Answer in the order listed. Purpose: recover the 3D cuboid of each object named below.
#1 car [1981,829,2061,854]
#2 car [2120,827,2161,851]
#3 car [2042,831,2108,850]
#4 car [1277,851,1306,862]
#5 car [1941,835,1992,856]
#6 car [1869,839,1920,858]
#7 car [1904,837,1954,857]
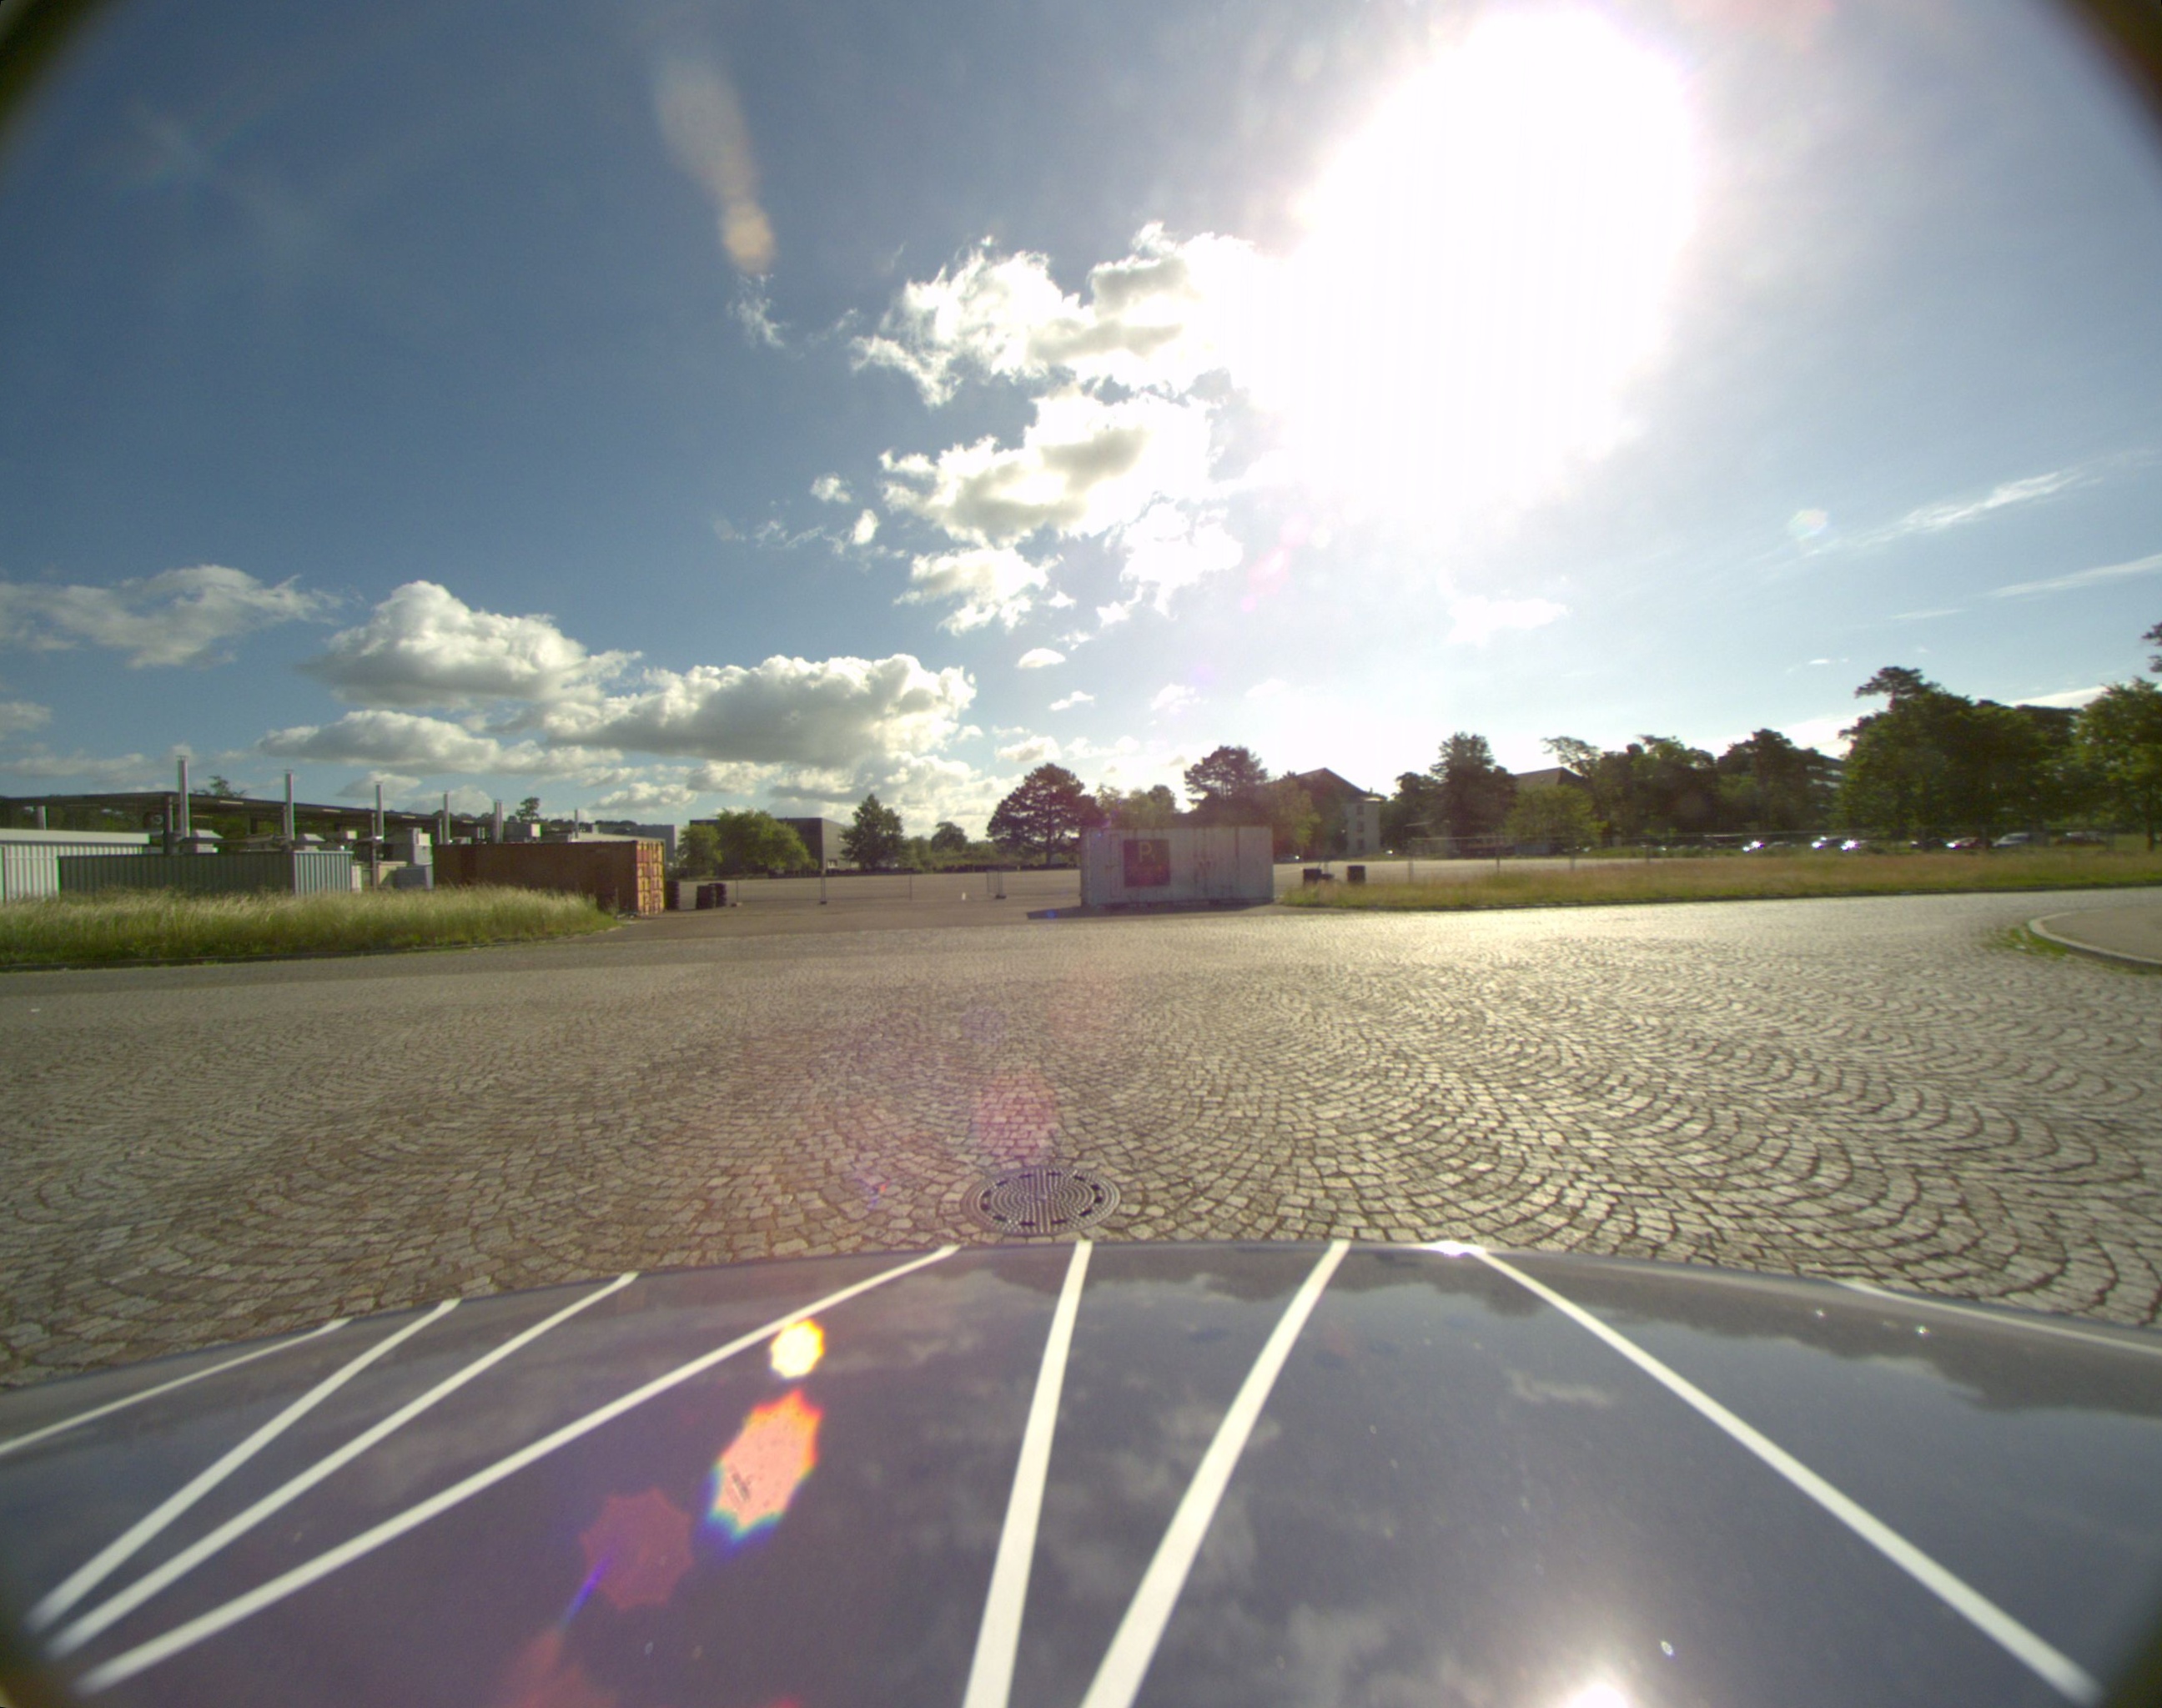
[{"bbox_3d":[90.139,-1.181,72.886,6.034,2.001,1.999,-3,-1,-8],"label":"car"},{"bbox_3d":[91.836,-1.311,65.155,3.620,2.002,1.741,-1,0,-9],"label":"car"},{"bbox_3d":[90.350,-1.225,69.089,4.000,1.642,1.998,-1,0,-9],"label":"car"},{"bbox_3d":[33.457,0.377,120.968,4.001,1.573,1.998,-1,0,-13],"label":"car"},{"bbox_3d":[89.186,-0.867,76.548,3.620,2.002,1.741,-1,0,-9],"label":"car"},{"bbox_3d":[89.212,-0.586,83.364,4.000,2.002,1.998,-1,0,-10],"label":"car"},{"bbox_3d":[88.450,-0.756,79.272,3.620,2.002,1.741,-1,0,-9],"label":"car"}]
